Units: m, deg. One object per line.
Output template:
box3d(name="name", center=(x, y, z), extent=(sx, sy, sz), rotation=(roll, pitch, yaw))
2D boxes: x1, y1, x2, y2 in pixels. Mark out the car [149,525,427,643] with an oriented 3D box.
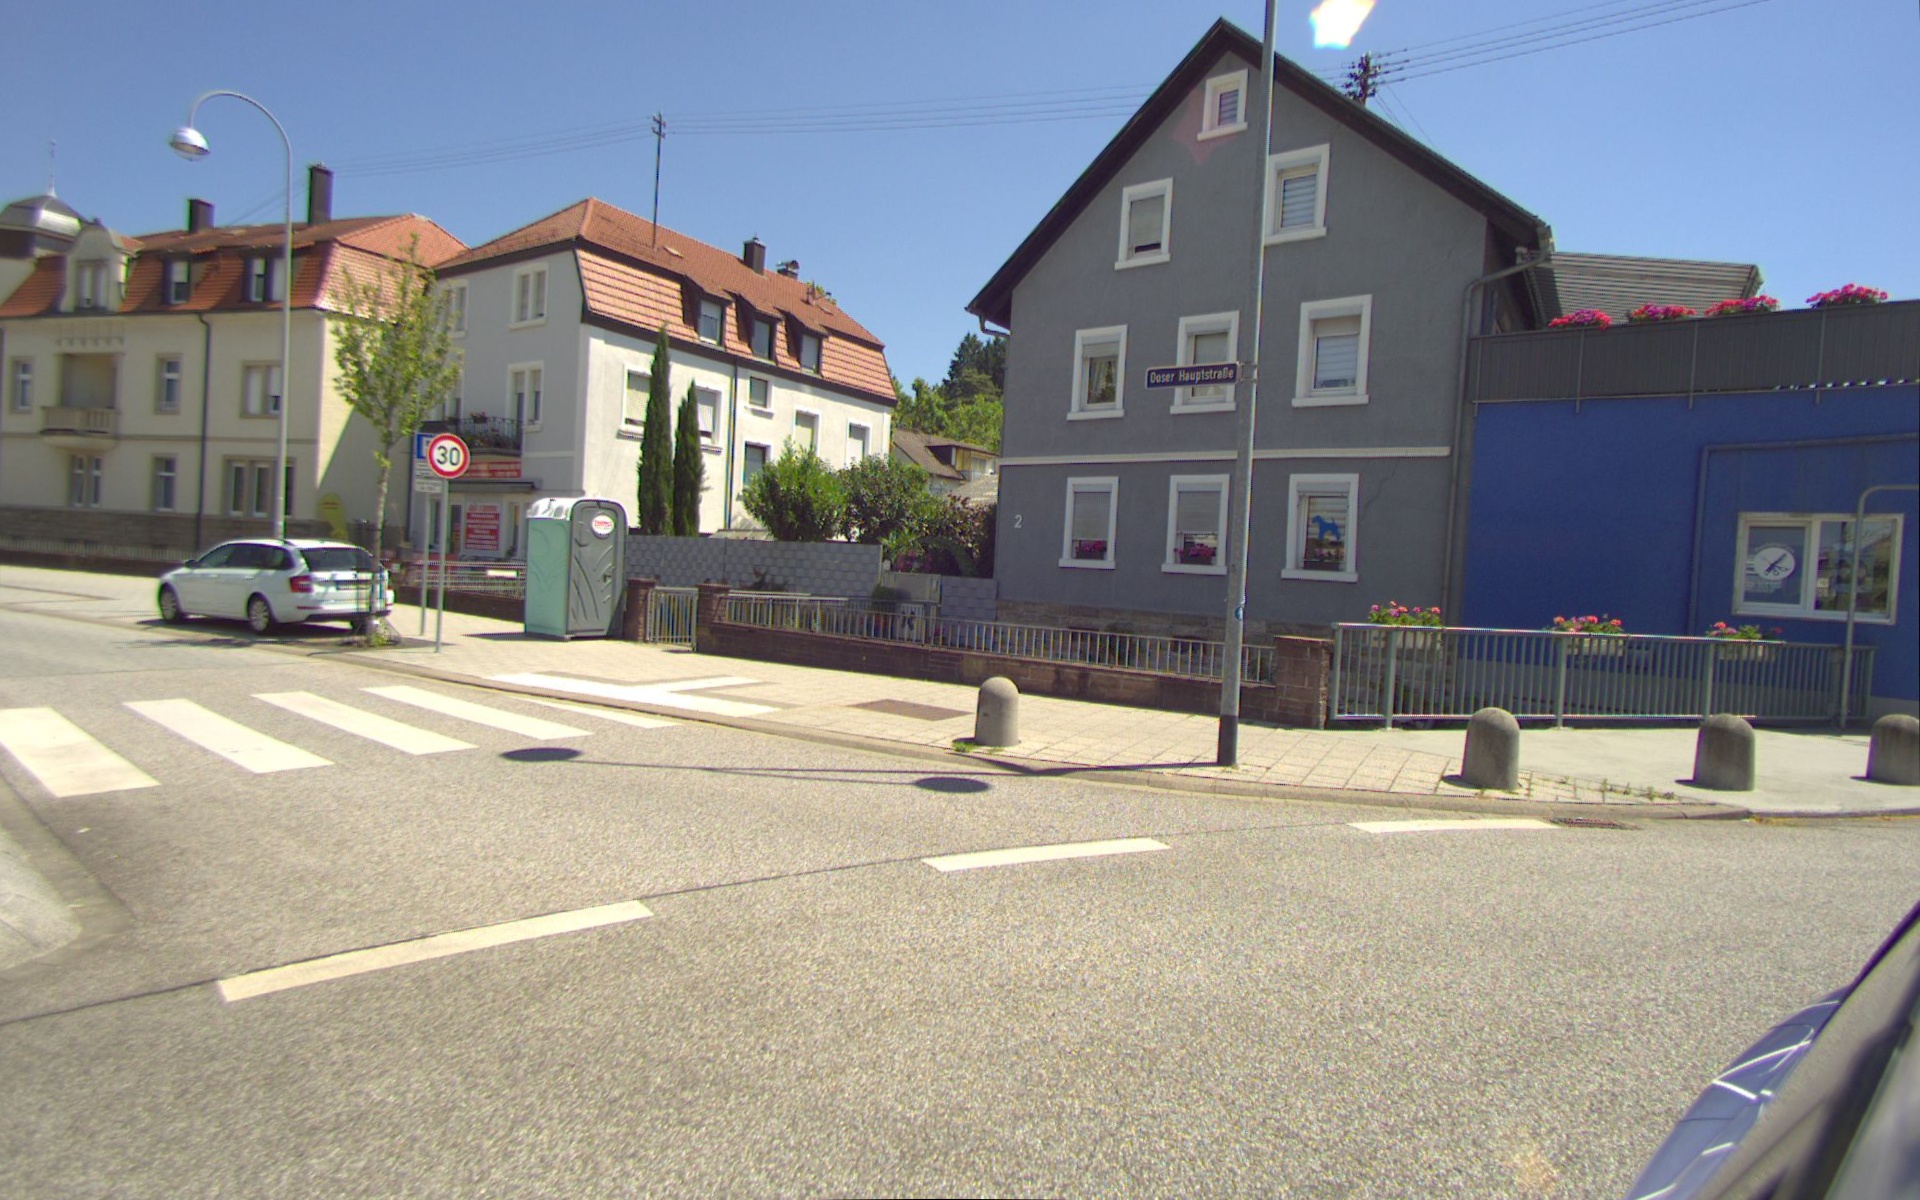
box3d(name="car", center=(-11.005, -0.368, 16.568), extent=(4.248, 1.602, 1.982), rotation=(4, 6, 28))
